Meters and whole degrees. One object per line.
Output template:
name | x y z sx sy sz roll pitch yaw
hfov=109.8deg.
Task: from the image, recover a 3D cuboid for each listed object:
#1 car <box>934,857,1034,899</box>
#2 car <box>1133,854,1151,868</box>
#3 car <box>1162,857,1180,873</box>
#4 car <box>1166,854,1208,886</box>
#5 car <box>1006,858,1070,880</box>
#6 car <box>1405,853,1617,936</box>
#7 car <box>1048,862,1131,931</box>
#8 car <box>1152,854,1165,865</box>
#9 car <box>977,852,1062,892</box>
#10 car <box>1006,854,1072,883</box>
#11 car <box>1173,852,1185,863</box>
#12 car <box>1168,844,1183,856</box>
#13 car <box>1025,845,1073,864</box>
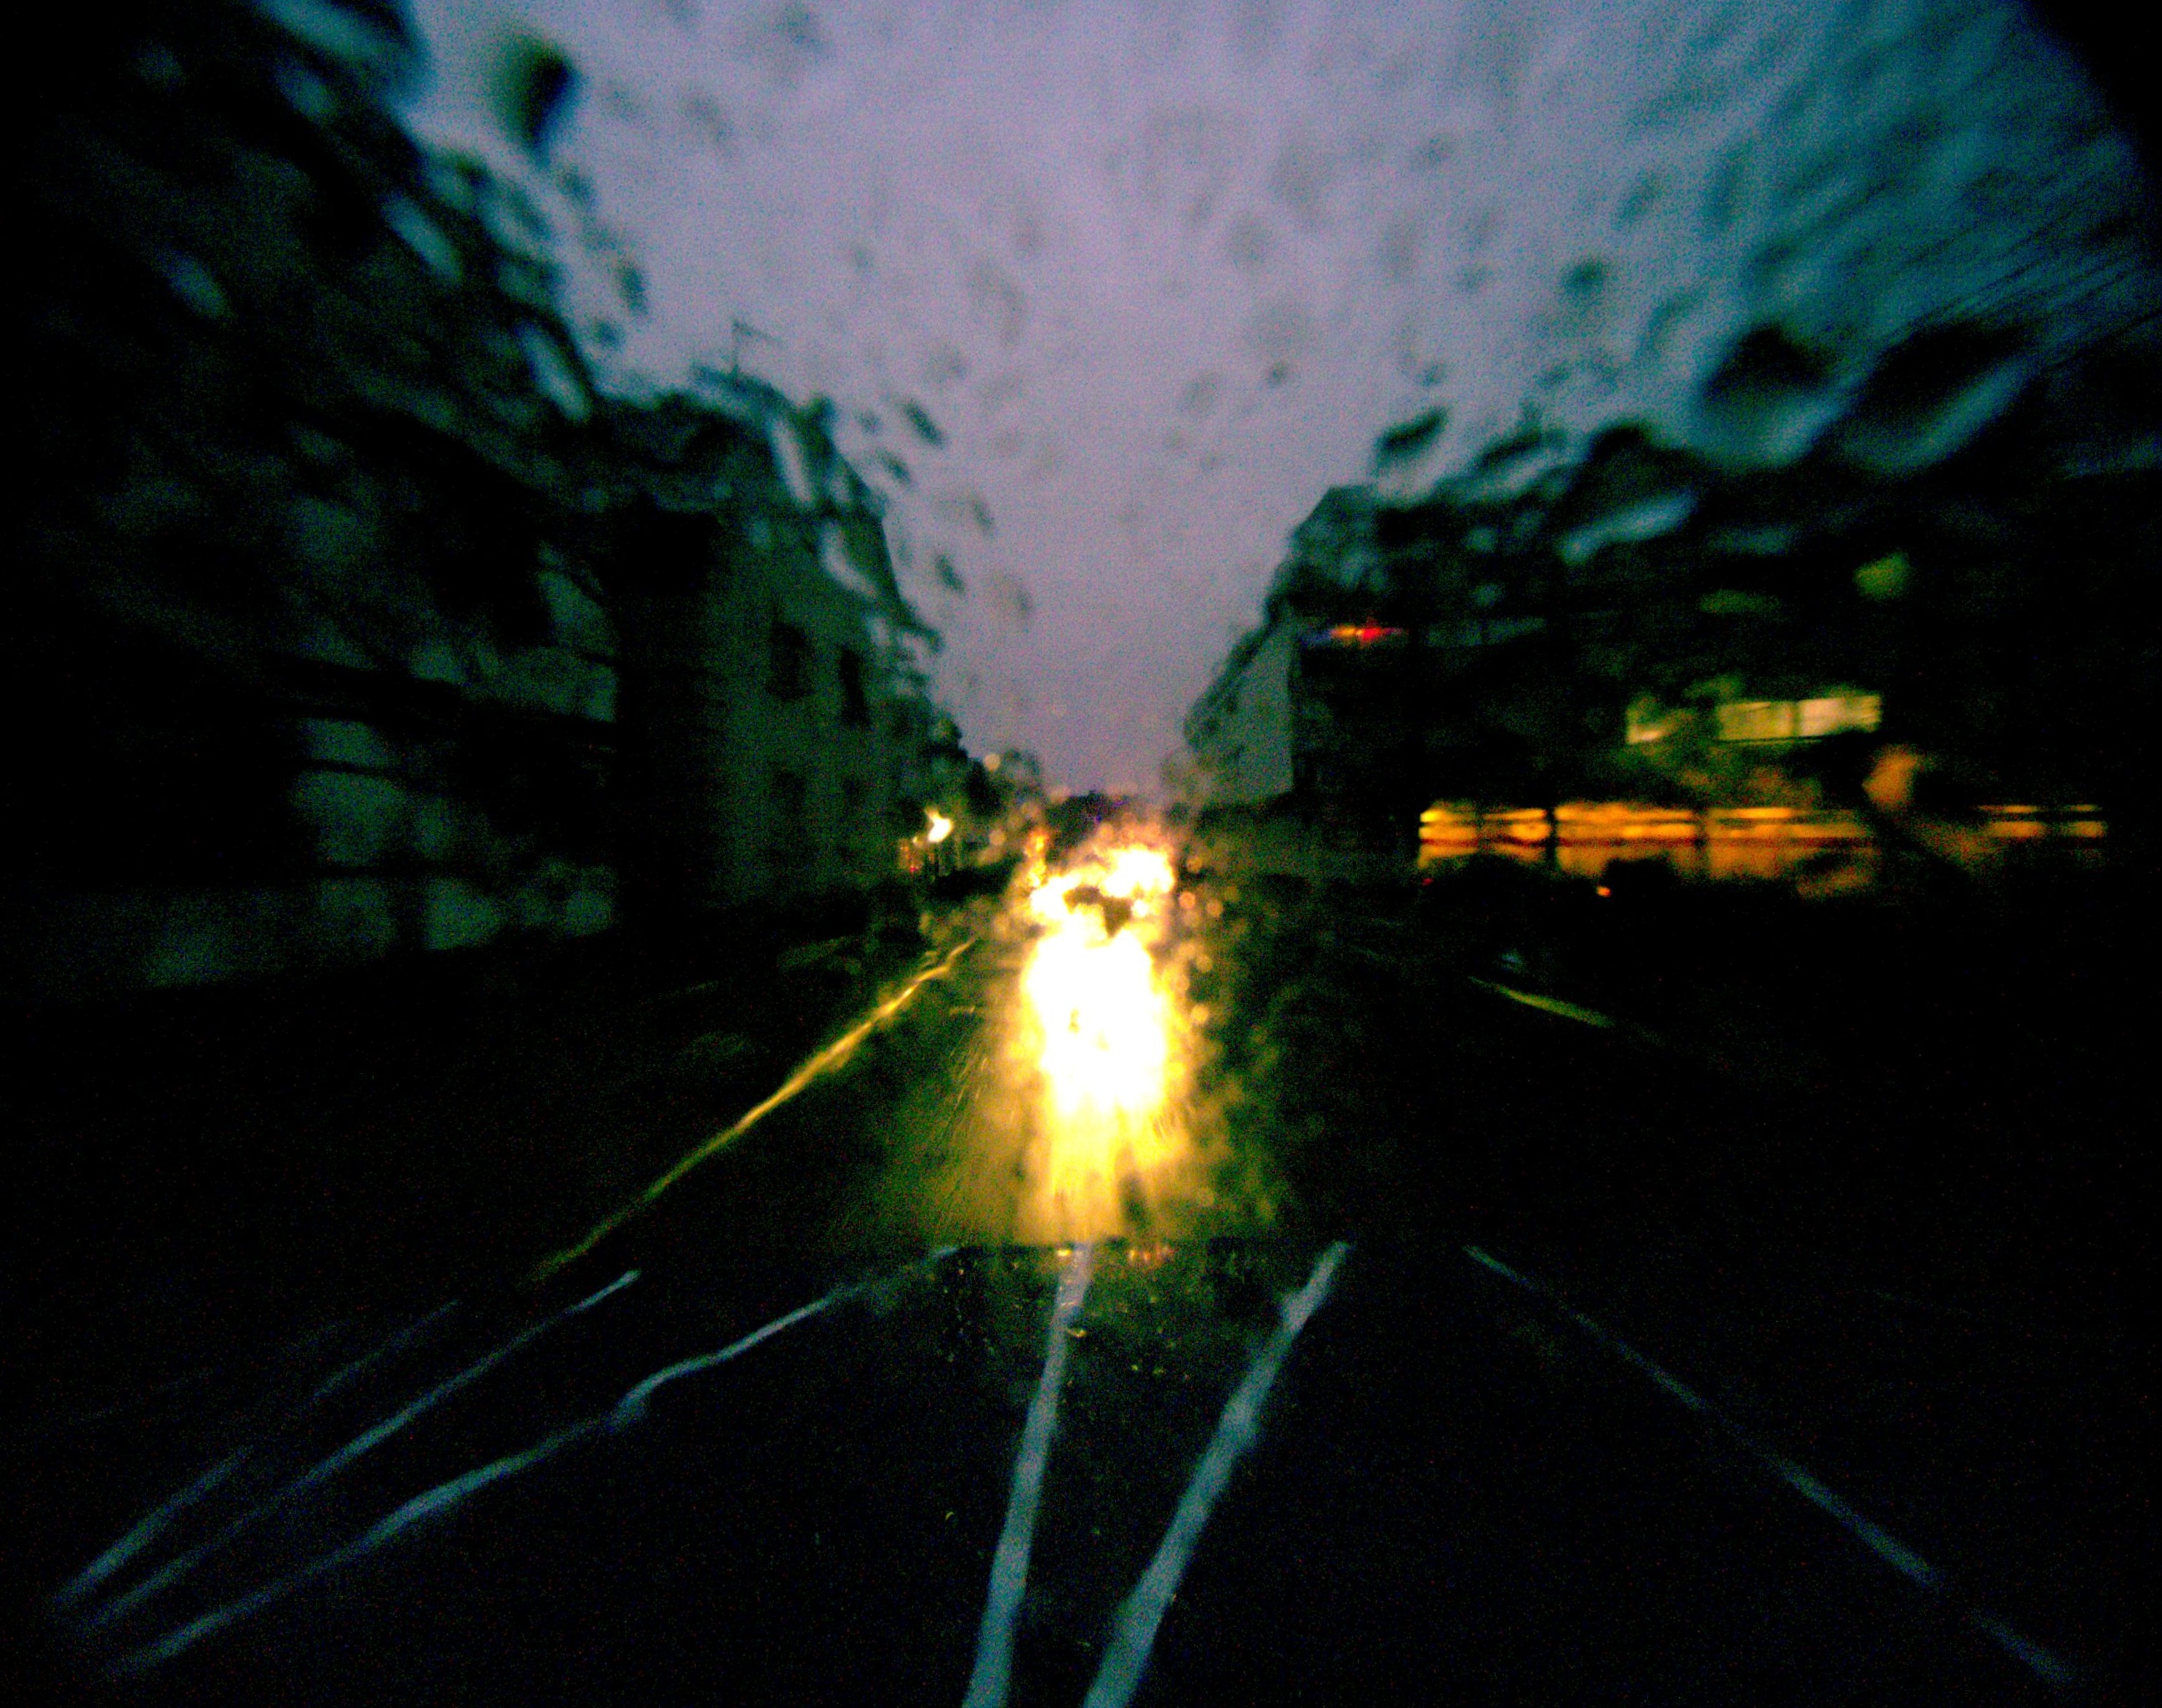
car | -3.847 0.957 30.617 3.852 1.618 1.611 1 0 -3
car | 7.102 0.807 88.336 1.922 1.608 3.870 -2 0 7
car | 10.188 1.212 85.806 1.892 1.670 4.002 -1 0 7
car | 5.695 0.812 41.192 1.899 1.607 3.827 -2 0 3
car | -2.702 0.931 48.241 3.887 1.359 1.551 0 0 1
car | 8.285 0.780 14.913 3.305 1.498 1.503 -2 0 14
car | 0.298 0.995 18.972 1.731 1.475 3.605 -2 0 5
car | 12.566 0.897 123.029 1.835 1.703 3.703 -1 0 11
car | -2.899 0.829 36.088 3.889 1.866 1.868 0 0 -4
car | -2.502 0.844 45.802 3.887 1.722 1.714 0 0 1
car | 19.150 0.699 148.443 1.835 2.002 3.703 -1 0 12
car | 12.362 -0.490 99.157 1.777 1.440 3.829 -2 0 9
car | -2.652 0.039 63.016 3.888 1.487 1.551 0 0 -1
